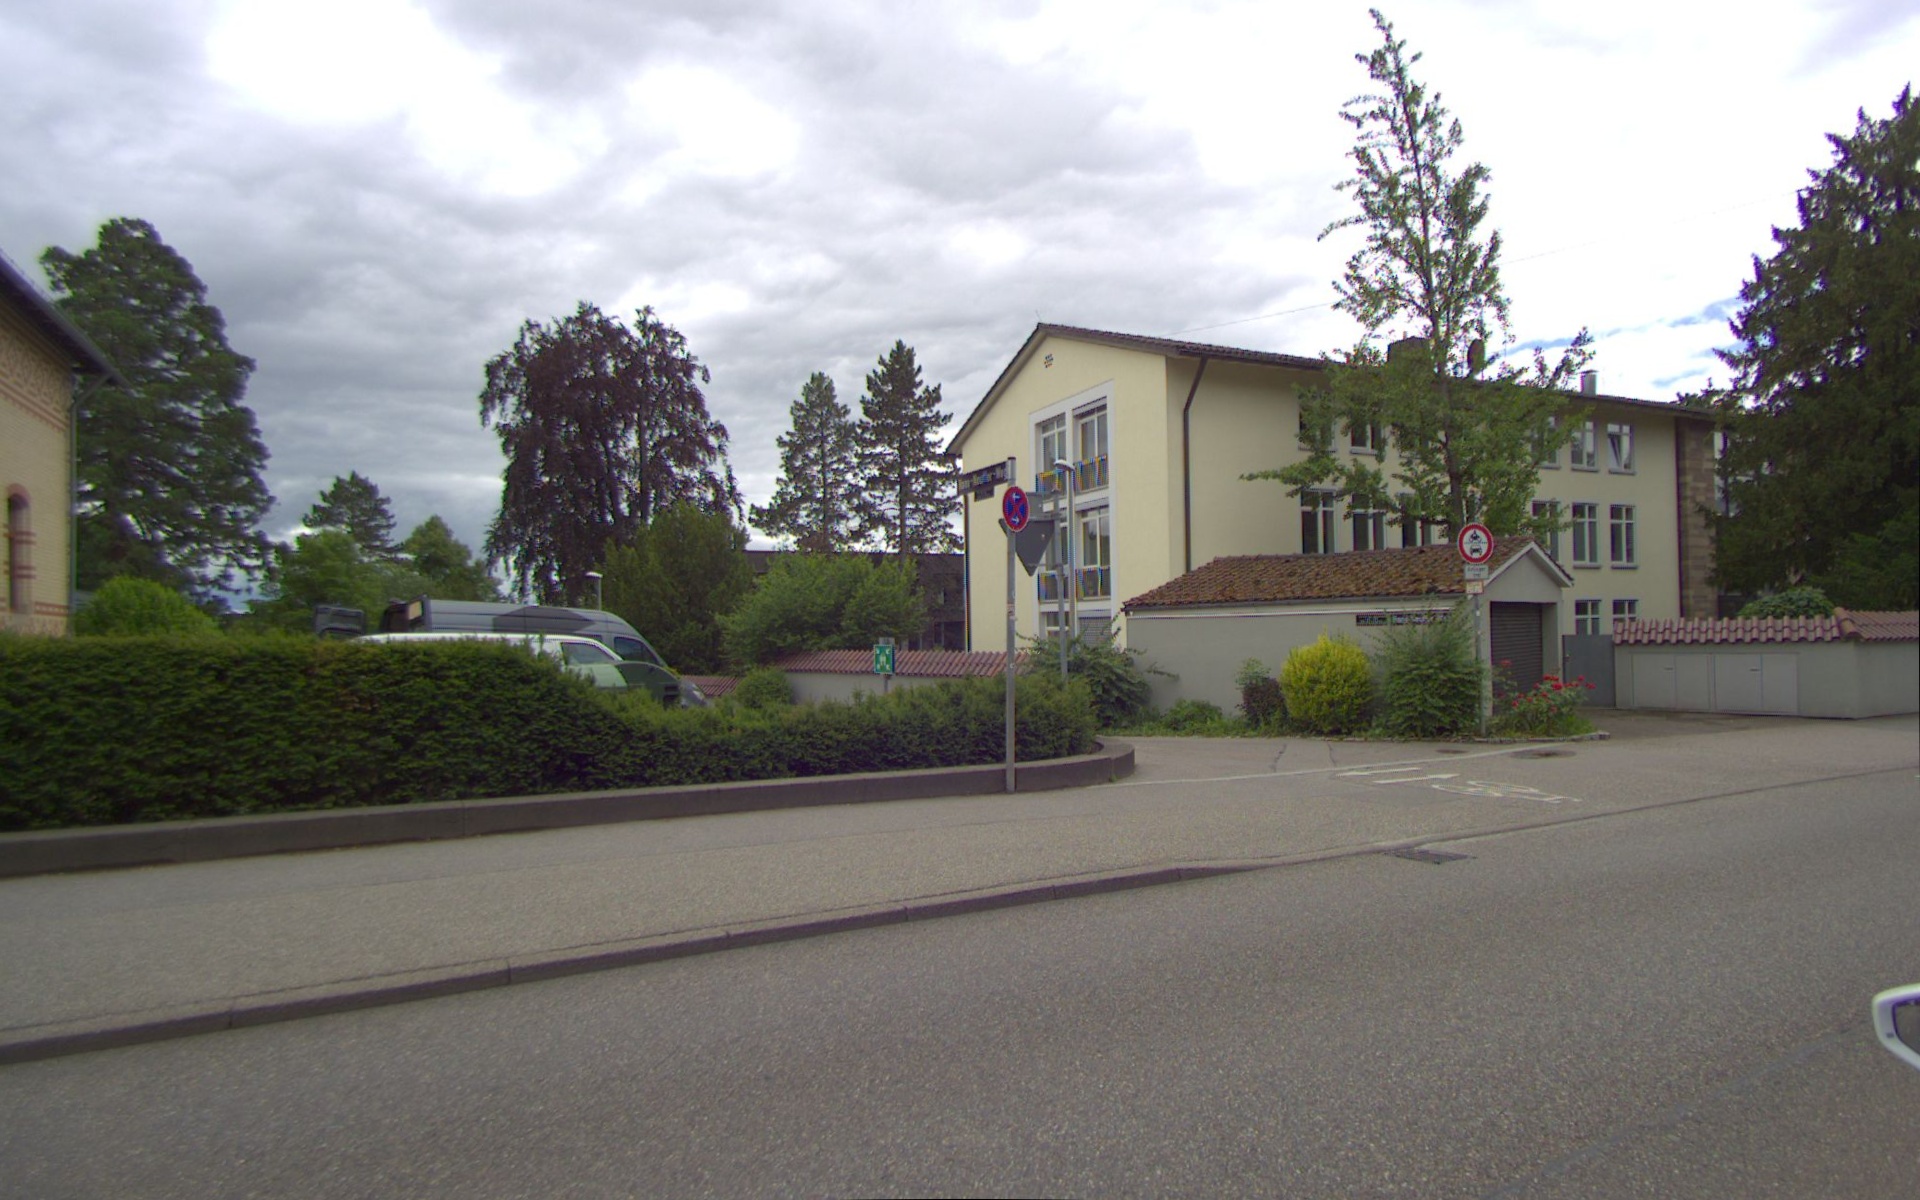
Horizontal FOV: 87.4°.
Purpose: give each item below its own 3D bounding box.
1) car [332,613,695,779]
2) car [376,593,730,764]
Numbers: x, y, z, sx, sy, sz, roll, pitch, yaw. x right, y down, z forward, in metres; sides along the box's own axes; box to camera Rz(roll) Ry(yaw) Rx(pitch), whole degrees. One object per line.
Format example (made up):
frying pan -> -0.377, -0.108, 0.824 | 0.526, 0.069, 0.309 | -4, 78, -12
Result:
car -> -6.478, 1.285, 14.900 | 4.579, 2.097, 1.872 | 2, -2, -41
car -> -7.201, 1.316, 18.359 | 5.685, 2.653, 1.974 | 2, -3, -45
